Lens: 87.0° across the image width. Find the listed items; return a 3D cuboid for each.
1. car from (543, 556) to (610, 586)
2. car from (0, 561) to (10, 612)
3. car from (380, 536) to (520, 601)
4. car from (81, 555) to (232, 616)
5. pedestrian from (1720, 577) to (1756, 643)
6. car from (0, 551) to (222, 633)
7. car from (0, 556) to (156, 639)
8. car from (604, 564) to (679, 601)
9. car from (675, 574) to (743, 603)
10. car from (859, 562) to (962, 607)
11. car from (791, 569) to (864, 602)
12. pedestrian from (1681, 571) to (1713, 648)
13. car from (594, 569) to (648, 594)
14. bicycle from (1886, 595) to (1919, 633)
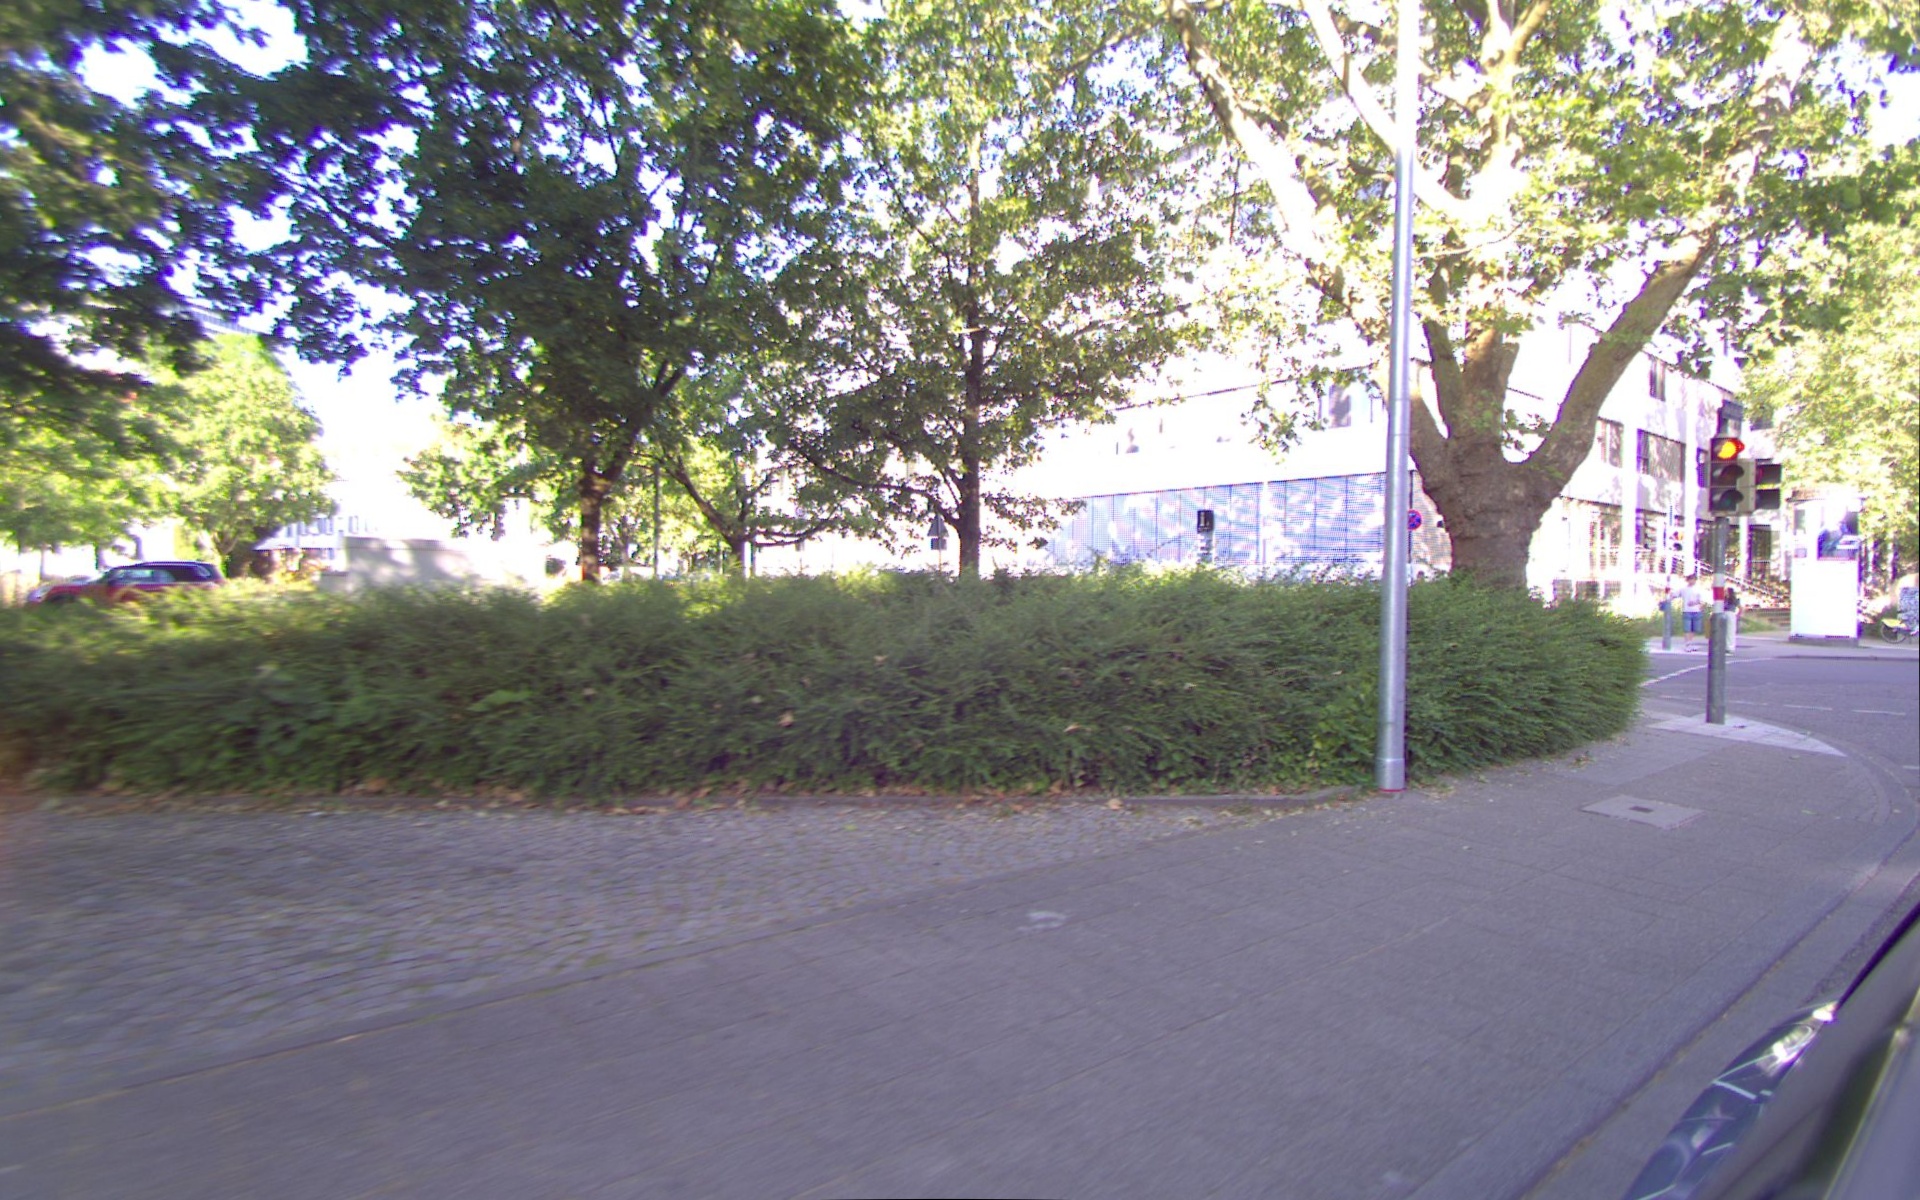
[{"bbox_3d":[-25.073,-1.911,66.135,4.894,1.808,2.059,4,3,42],"label":"car"},{"bbox_3d":[-39.097,-0.534,38.666,3.974,1.971,1.921,0,-1,-41],"label":"car"},{"bbox_3d":[-21.807,-1.307,43.391,5.069,2.605,1.997,0,1,-41],"label":"car"},{"bbox_3d":[-29.282,-0.521,36.975,4.236,2.115,1.785,0,1,-41],"label":"car"},{"bbox_3d":[18.548,0.225,24.117,0.670,1.543,0.553,0,0,39],"label":"pedestrian"},{"bbox_3d":[-20.697,-0.193,24.676,4.236,1.834,1.785,0,1,-41],"label":"car"},{"bbox_3d":[-19.166,-0.063,20.667,4.236,1.621,1.785,0,1,-41],"label":"car"},{"bbox_3d":[-23.569,-1.273,75.101,1.989,2.651,5.051,3,2,37],"label":"car"},{"bbox_3d":[-19.830,-0.903,80.101,1.989,2.135,5.051,3,2,37],"label":"car"},{"bbox_3d":[-2.217,-0.711,44.193,2.072,1.851,4.713,0,1,-41],"label":"car"},{"bbox_3d":[-6.398,-0.700,48.643,1.602,1.503,3.845,0,1,-41],"label":"car"},{"bbox_3d":[18.004,0.222,24.729,0.600,1.862,0.562,0,0,36],"label":"pedestrian"},{"bbox_3d":[-20.893,-1.152,62.370,3.589,1.509,1.605,2,1,42],"label":"car"},{"bbox_3d":[27.503,0.419,28.749,1.619,1.011,0.617,3,4,26],"label":"bicycle"}]
